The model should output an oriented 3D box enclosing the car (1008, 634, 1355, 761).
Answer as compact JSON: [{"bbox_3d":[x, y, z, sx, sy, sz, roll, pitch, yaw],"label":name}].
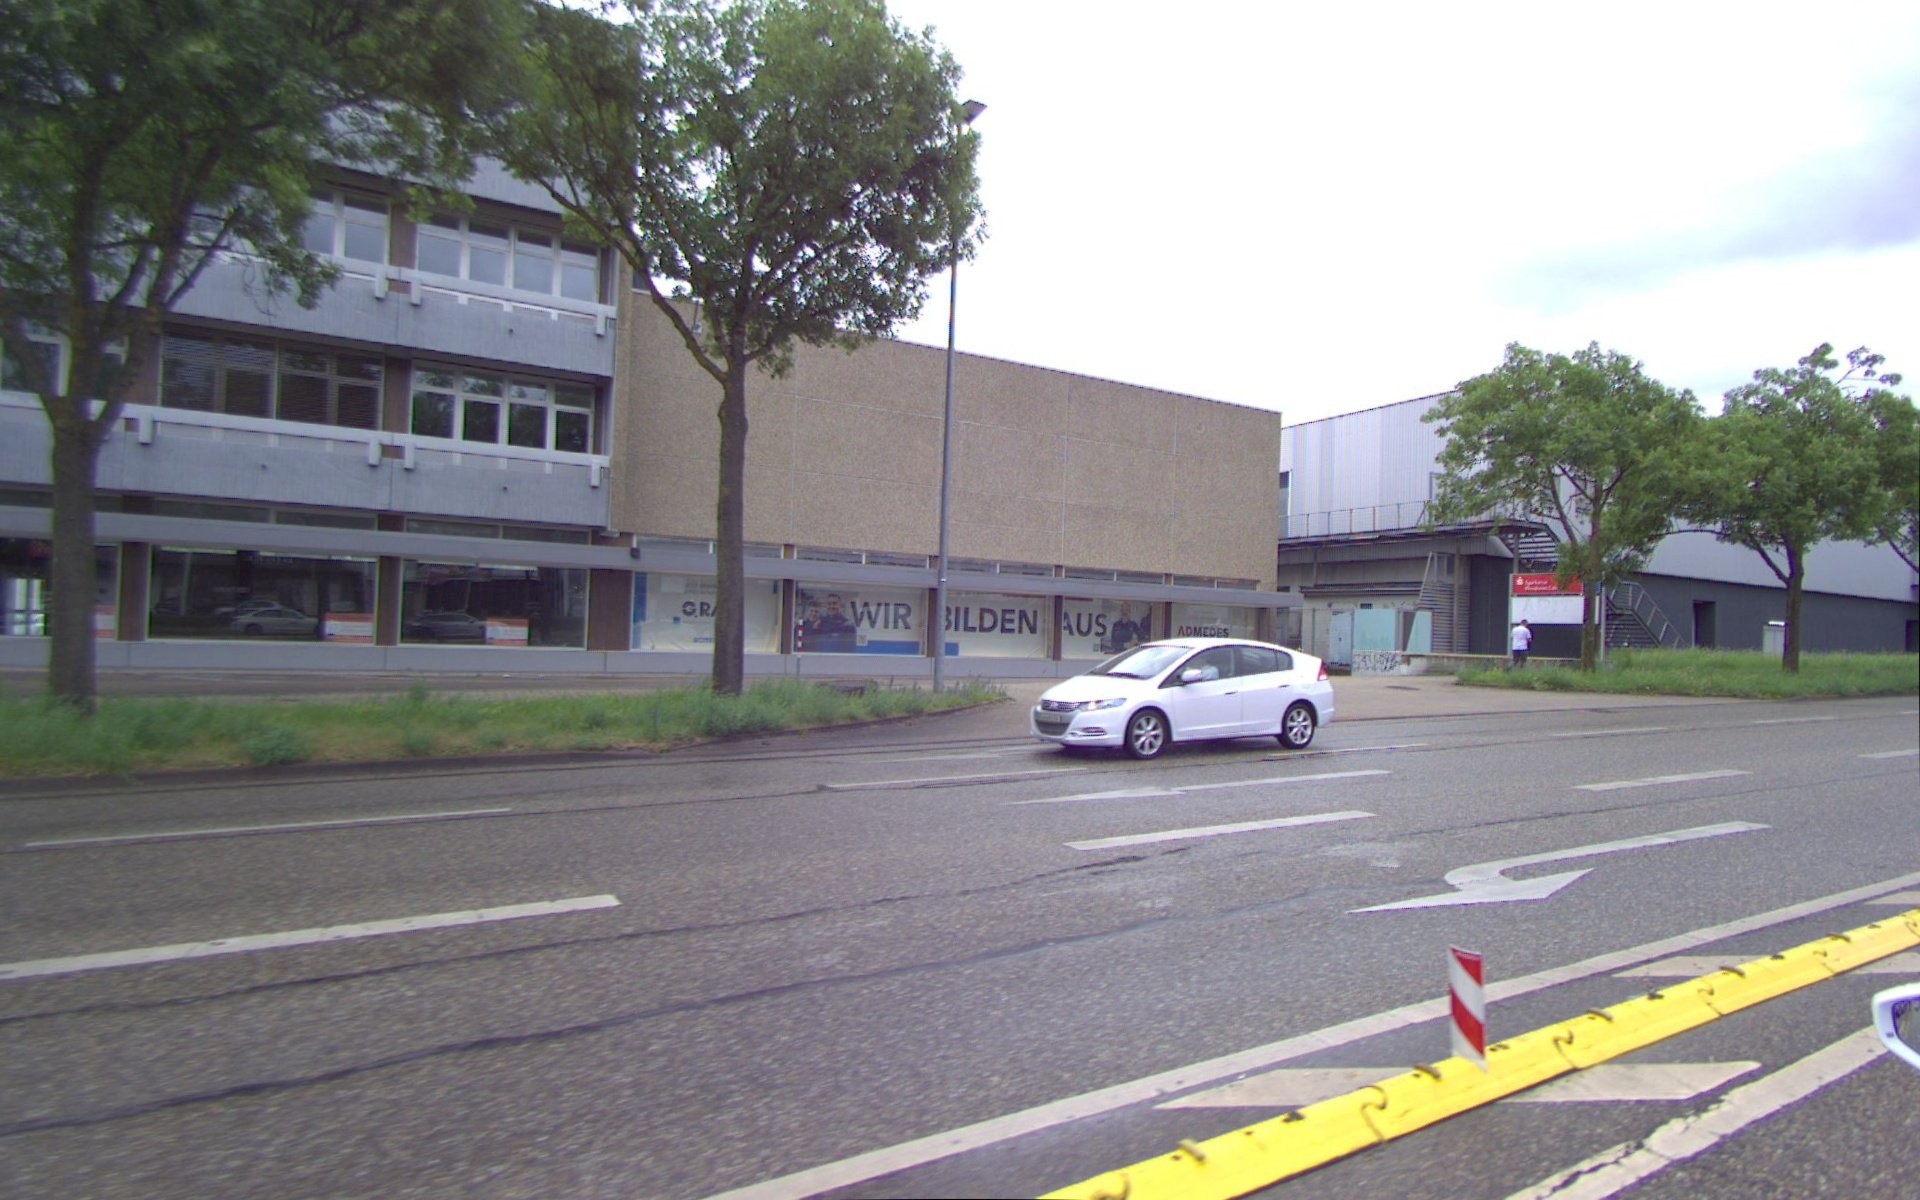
[{"bbox_3d":[2.947,1.188,13.129,4.414,1.424,1.734,2,-3,-29],"label":"car"}]

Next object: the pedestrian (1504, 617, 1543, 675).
[{"bbox_3d":[15.867,1.285,28.282,0.757,1.605,0.582,1,1,-27],"label":"pedestrian"}]
